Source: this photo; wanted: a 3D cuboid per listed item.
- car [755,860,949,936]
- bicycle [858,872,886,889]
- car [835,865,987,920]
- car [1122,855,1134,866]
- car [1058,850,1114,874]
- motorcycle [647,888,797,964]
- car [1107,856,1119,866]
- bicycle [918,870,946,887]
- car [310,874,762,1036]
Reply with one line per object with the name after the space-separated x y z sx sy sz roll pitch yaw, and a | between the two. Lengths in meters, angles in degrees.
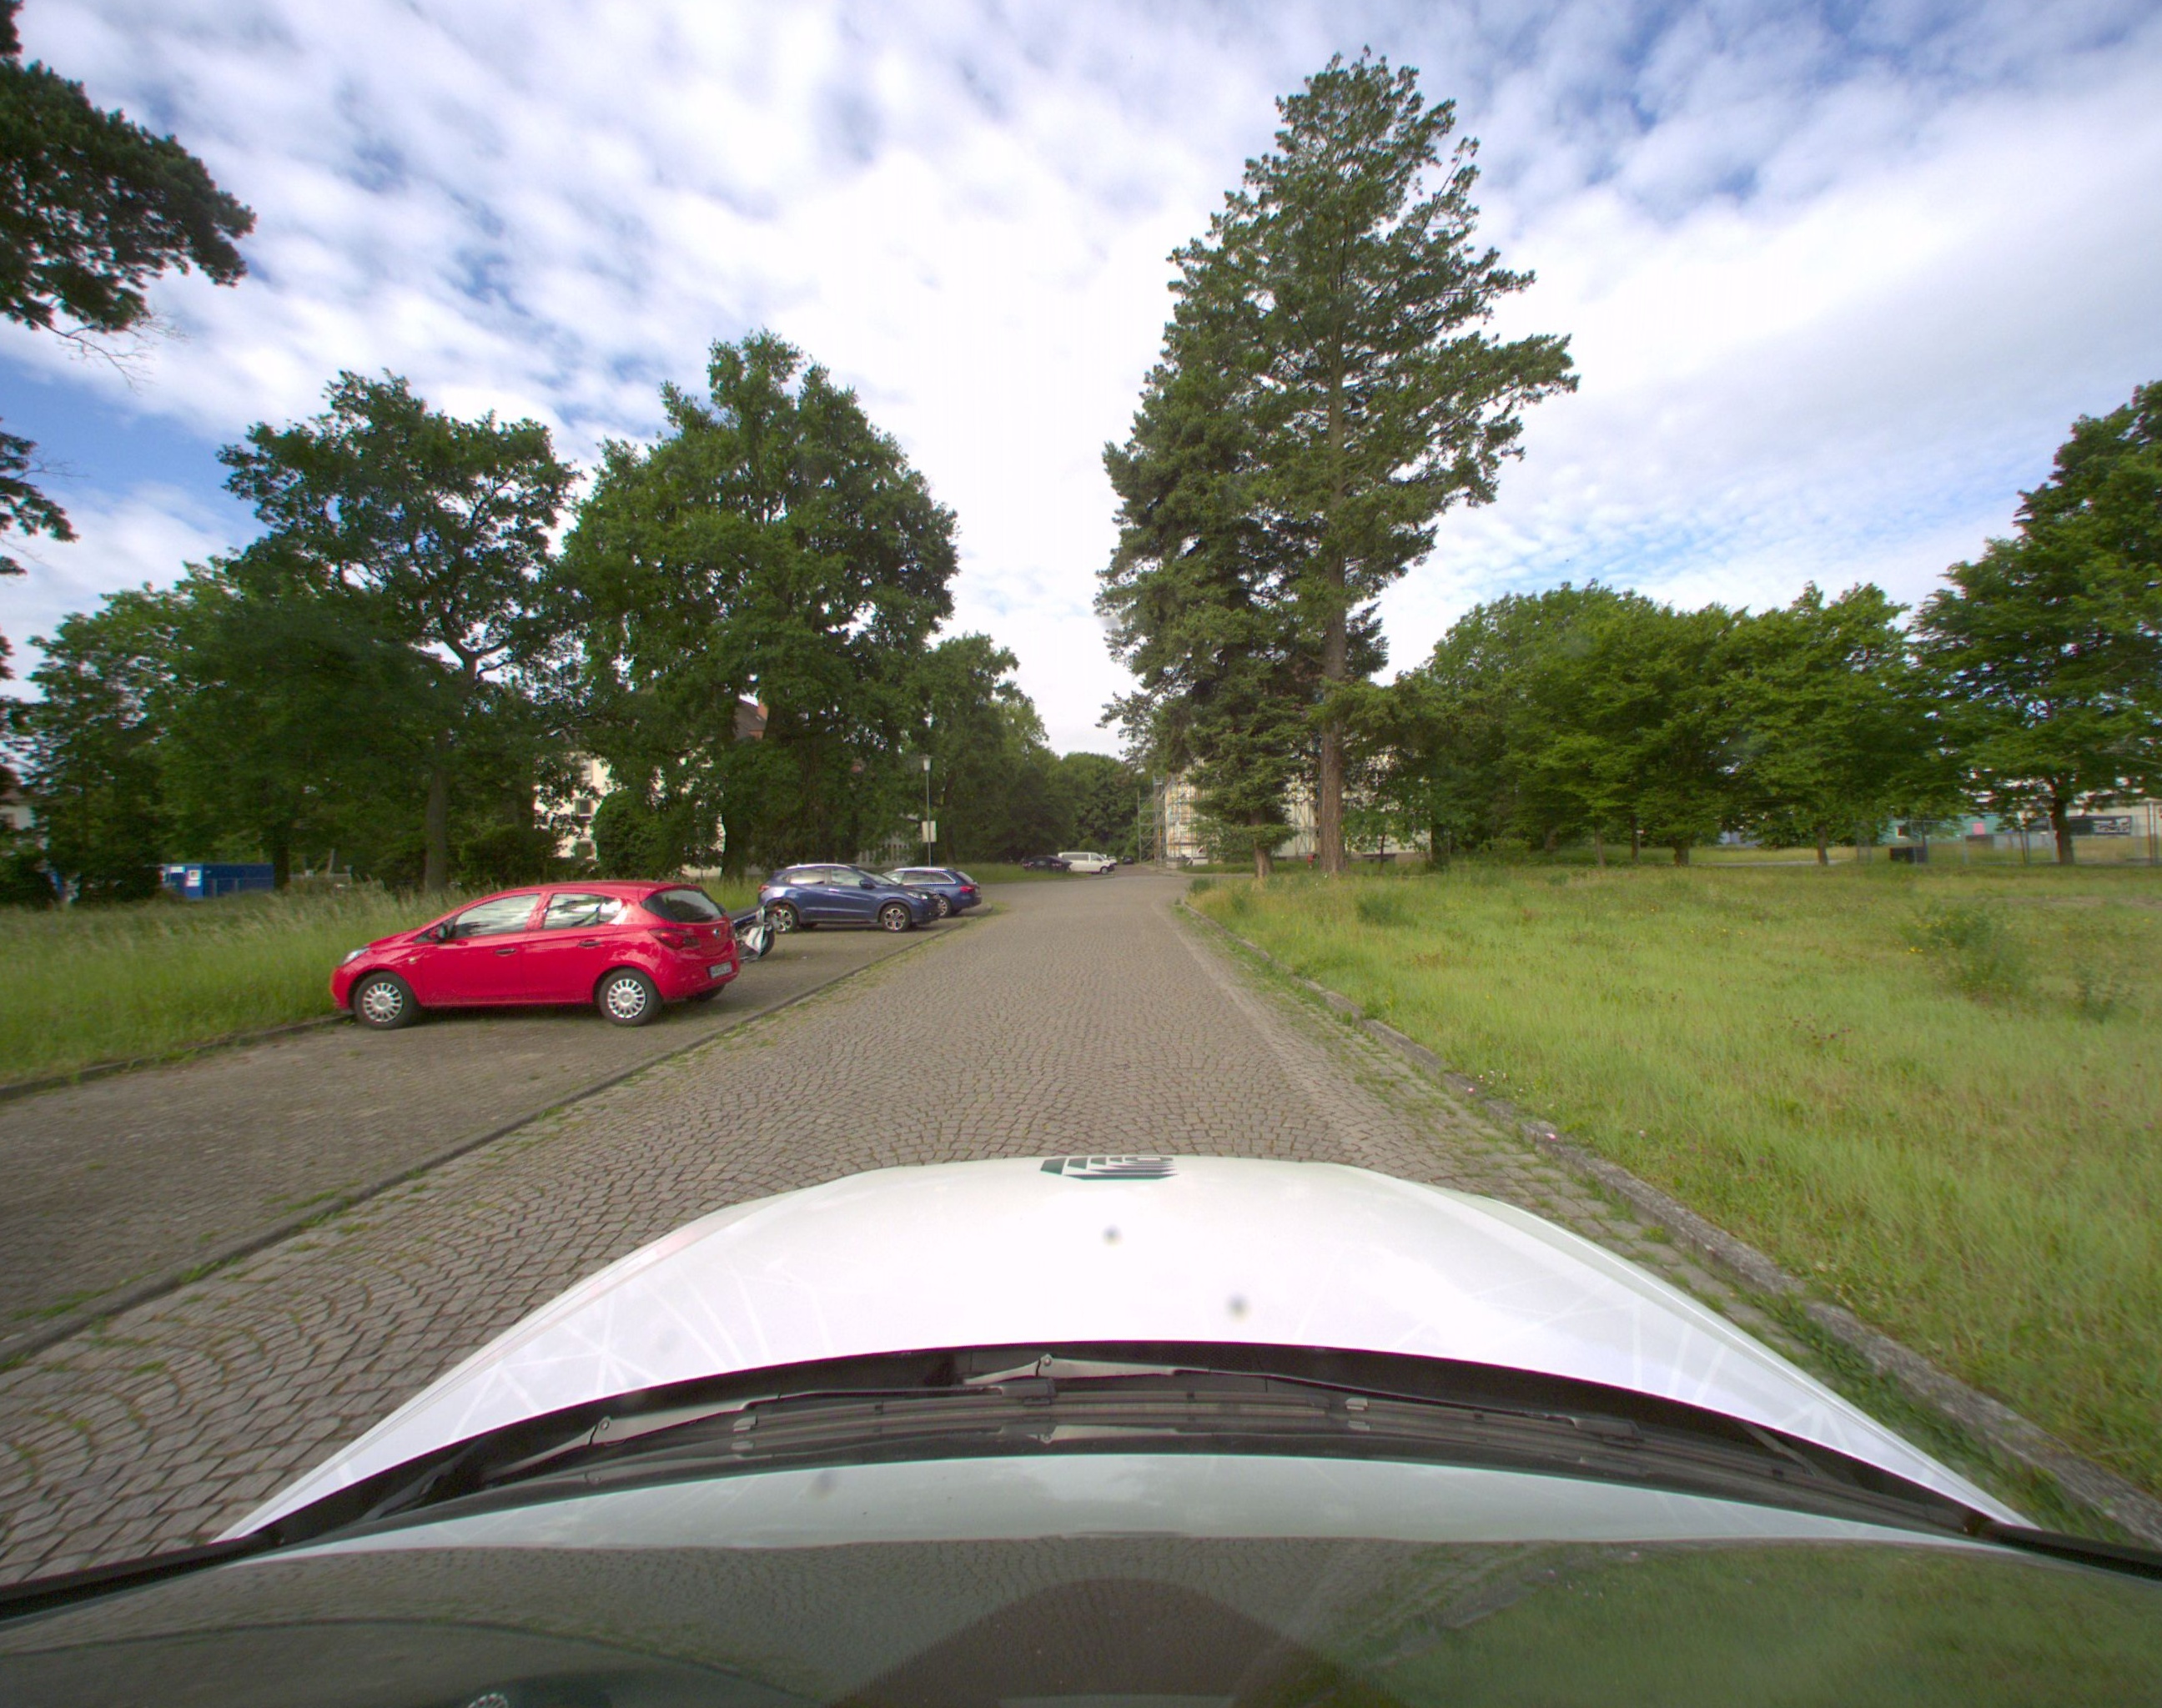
-5.335 1.004 19.372 4.058 1.604 1.787 -1 0 0 | car
-13.741 1.728 53.613 1.706 1.053 0.571 -1 -2 -19 | bicycle
-4.964 1.114 24.063 4.051 1.467 1.628 -1 0 5 | car
8.080 1.057 139.175 1.784 1.720 4.060 -2 -2 0 | car
0.452 0.746 72.946 4.961 2.073 2.052 -1 -2 0 | car
-6.014 1.201 13.697 2.216 1.159 0.647 -2 0 4 | motorcycle
5.457 1.187 138.914 1.784 1.636 4.060 -2 -2 0 | car
-9.916 1.605 54.159 1.706 1.053 0.571 -1 -2 -19 | bicycle
-5.863 1.044 9.127 3.802 1.489 1.788 -1 0 1 | car
